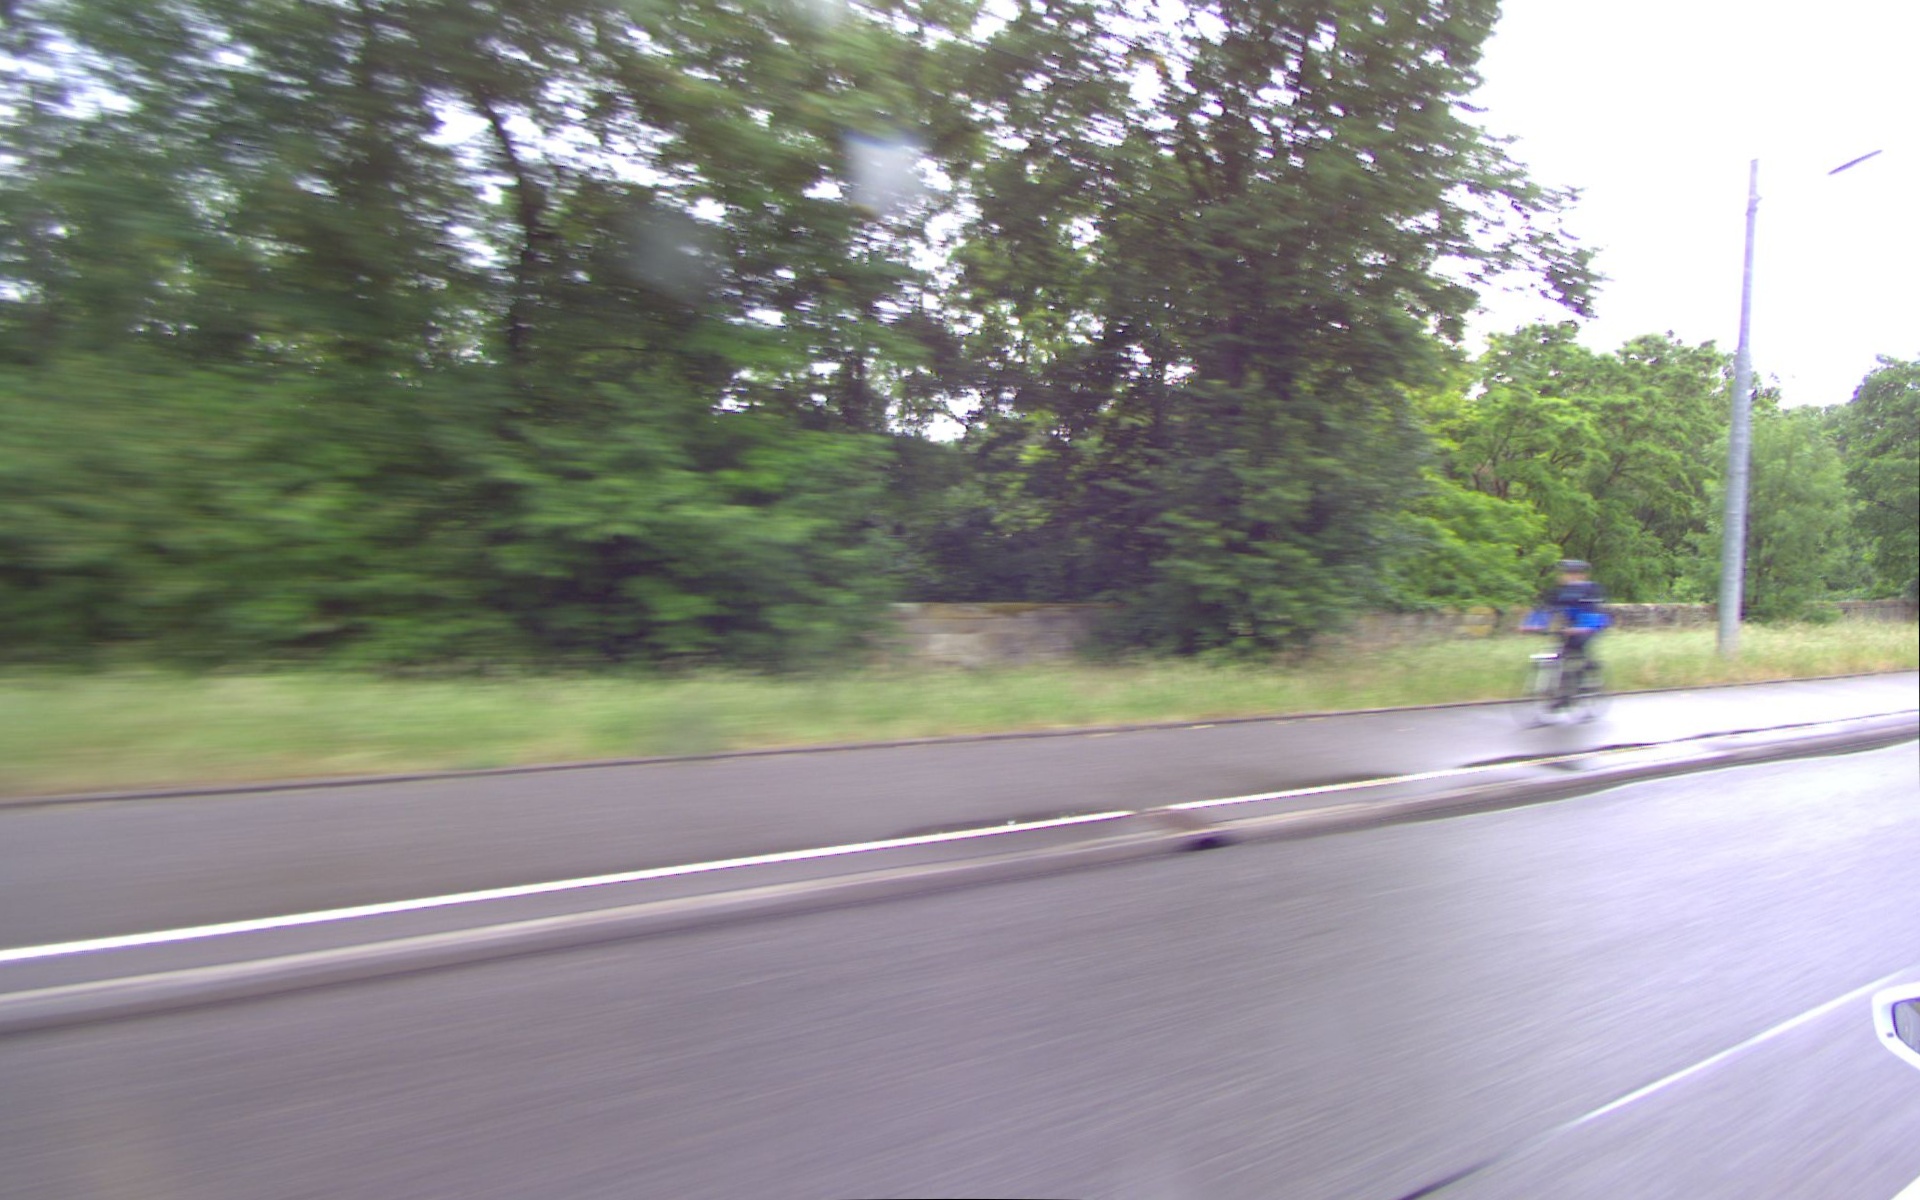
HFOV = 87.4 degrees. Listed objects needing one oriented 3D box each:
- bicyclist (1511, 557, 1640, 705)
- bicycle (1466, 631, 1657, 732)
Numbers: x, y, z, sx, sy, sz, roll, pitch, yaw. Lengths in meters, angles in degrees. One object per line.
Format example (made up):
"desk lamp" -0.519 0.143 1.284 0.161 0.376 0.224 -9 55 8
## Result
"bicyclist" 7.019 0.329 11.453 1.157 1.577 0.704 0 4 -31
"bicycle" 6.870 0.884 11.422 2.521 0.954 0.720 0 4 -32
